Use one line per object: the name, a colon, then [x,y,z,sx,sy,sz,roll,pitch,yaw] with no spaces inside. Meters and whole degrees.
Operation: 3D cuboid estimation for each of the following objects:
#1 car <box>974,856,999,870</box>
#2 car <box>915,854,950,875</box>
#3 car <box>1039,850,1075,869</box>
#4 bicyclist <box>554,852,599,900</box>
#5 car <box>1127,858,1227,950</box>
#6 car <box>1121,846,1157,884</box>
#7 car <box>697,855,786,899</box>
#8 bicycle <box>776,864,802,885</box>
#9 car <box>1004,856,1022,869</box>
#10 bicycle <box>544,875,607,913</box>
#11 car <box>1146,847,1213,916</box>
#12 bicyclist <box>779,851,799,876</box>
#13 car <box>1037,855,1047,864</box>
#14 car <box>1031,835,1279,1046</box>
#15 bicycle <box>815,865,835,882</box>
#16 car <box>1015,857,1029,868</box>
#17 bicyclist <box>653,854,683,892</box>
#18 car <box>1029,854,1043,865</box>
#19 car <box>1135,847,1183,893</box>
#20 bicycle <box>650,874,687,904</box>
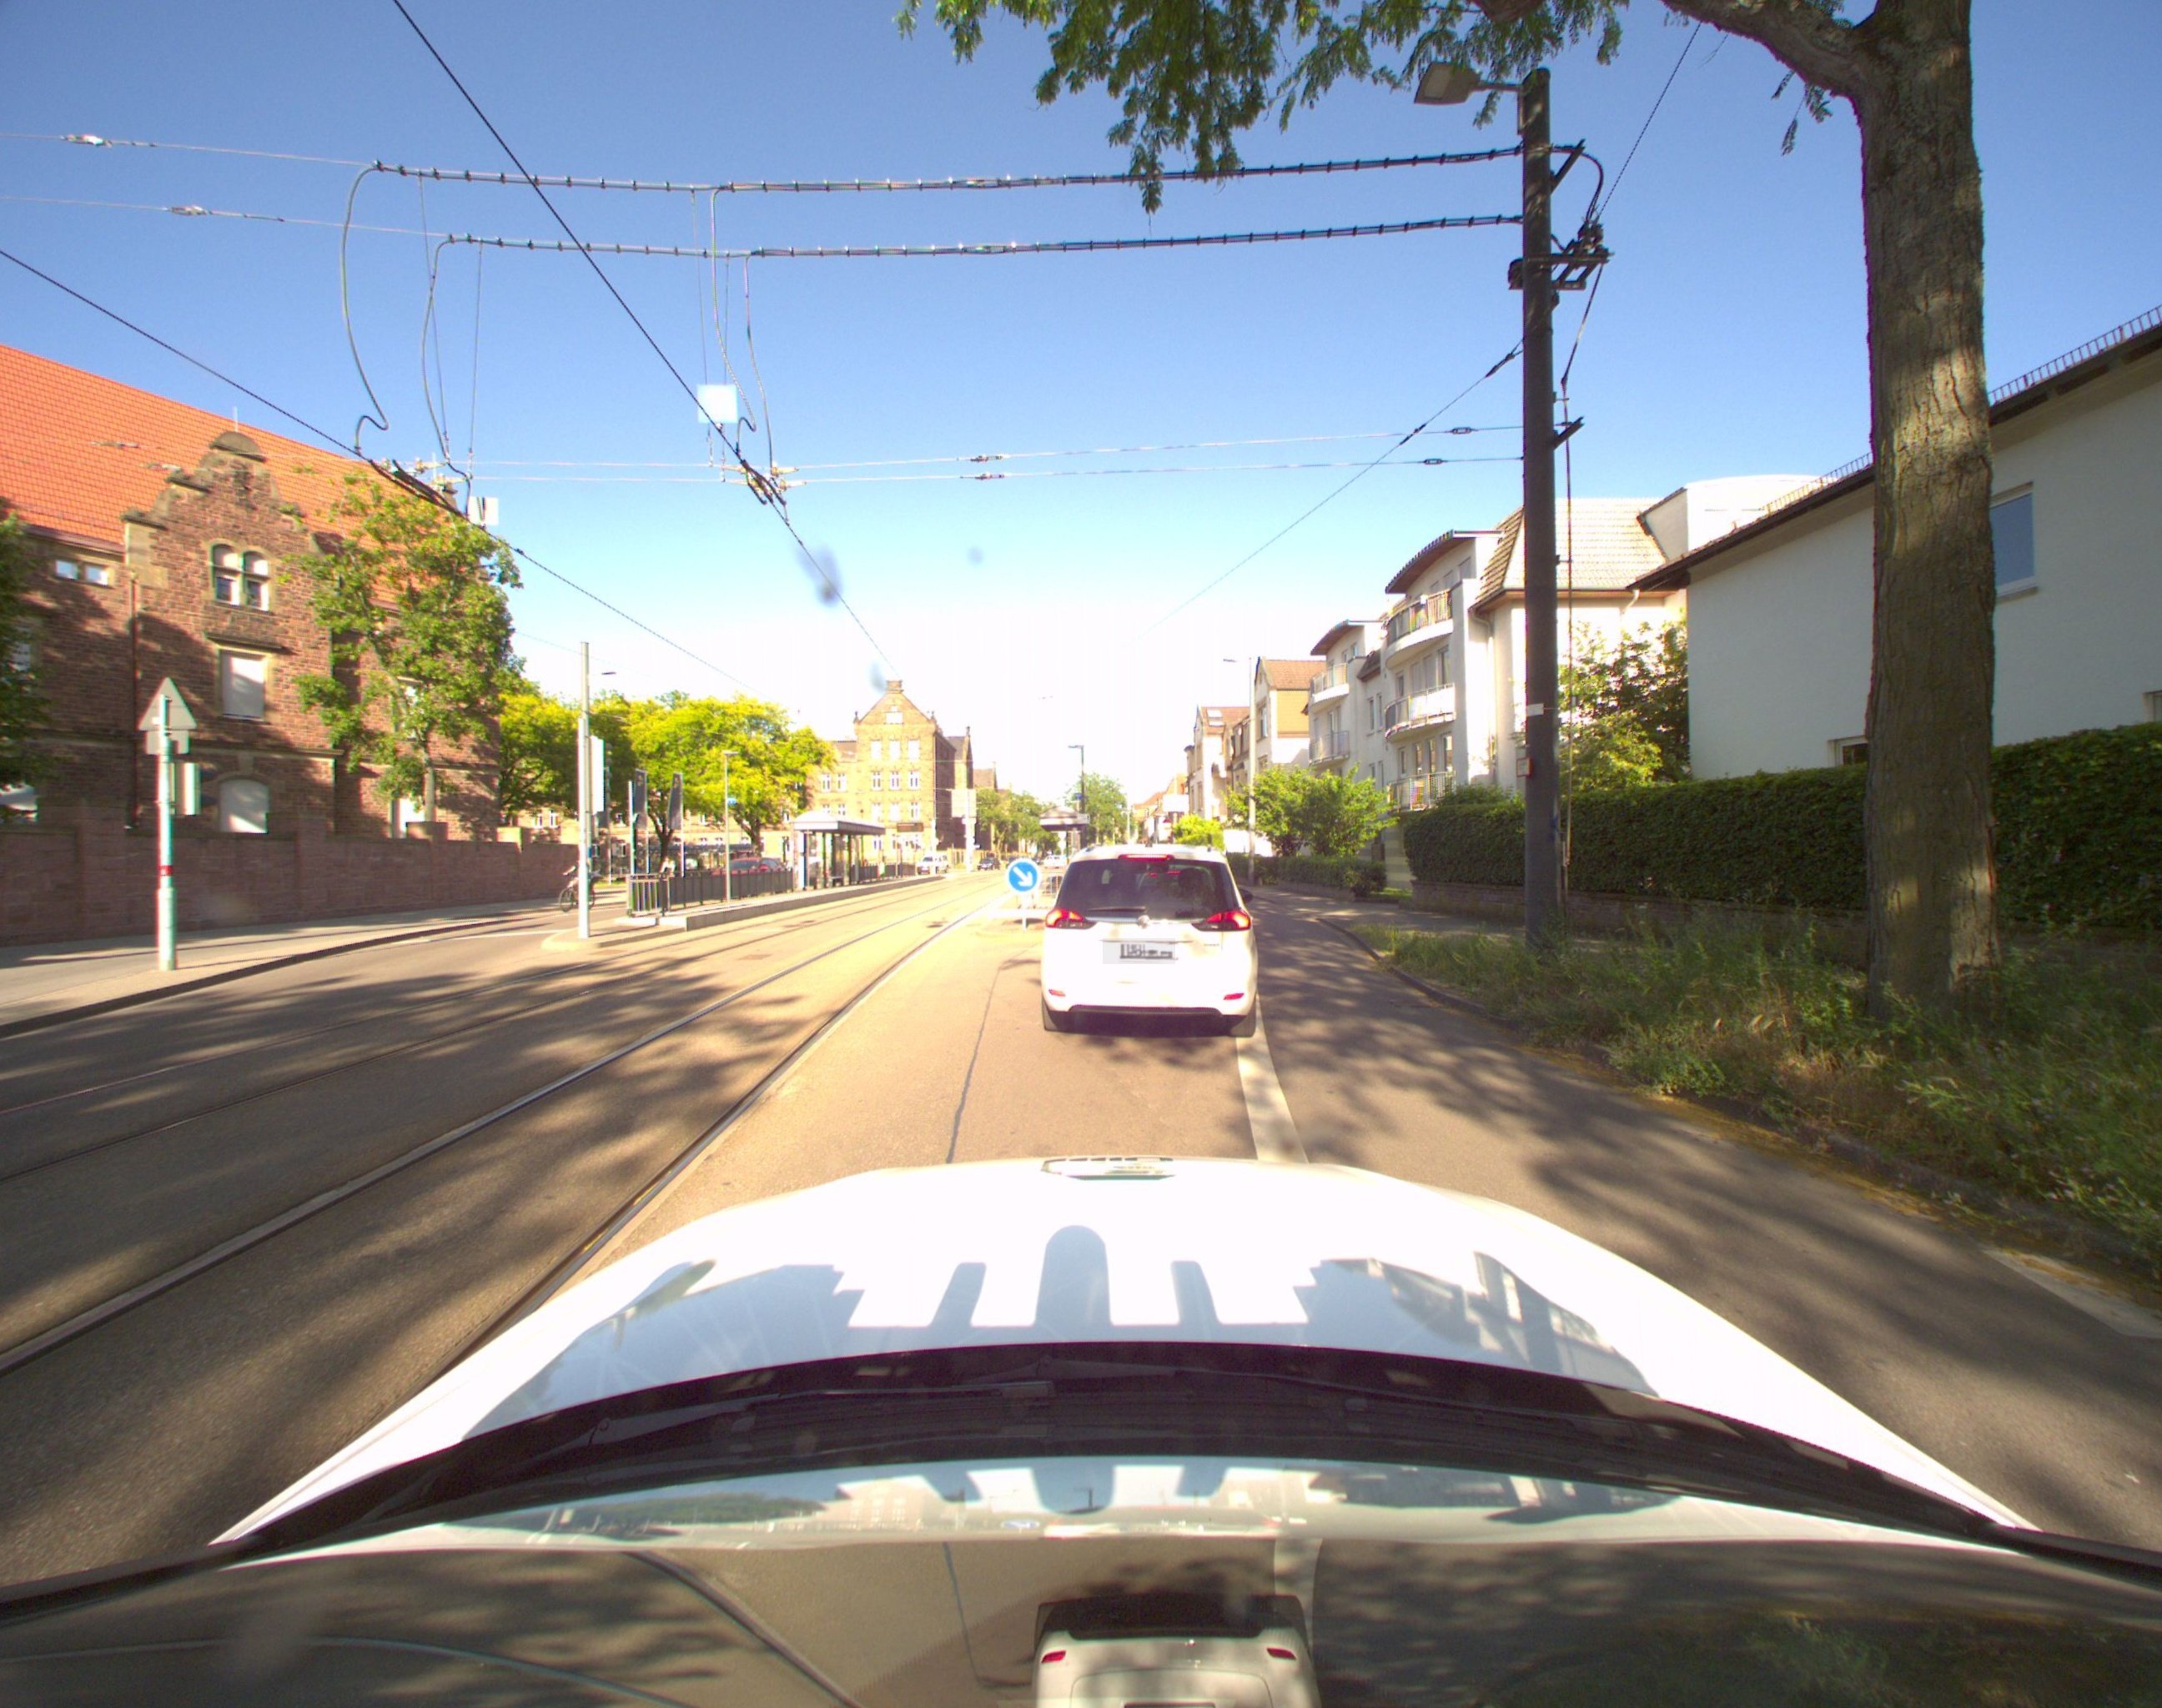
car: [-10.384,0.968,89.737,1.789,1.382,4.502,-1,0,5]
car: [-13.209,0.924,72.735,1.816,1.788,4.265,-1,0,8]
car: [-2.660,0.579,90.592,2.010,2.013,3.954,-1,0,-38]
bicyclist: [-15.985,0.687,25.827,0.650,1.459,1.152,-1,0,0]
car: [1.772,0.803,14.856,1.560,1.401,3.792,1,0,7]
car: [2.824,0.501,40.028,1.590,1.634,3.904,1,2,2]
car: [-13.467,0.865,32.586,1.813,1.607,4.356,-1,0,-2]
bicycle: [-17.225,1.209,48.080,0.812,1.198,1.953,0,0,2]
car: [-8.706,1.058,104.158,1.820,1.617,4.329,-1,-1,2]
bicycle: [-15.976,1.248,25.815,0.682,1.089,2.064,-1,0,1]
car: [2.560,0.644,21.094,1.560,1.614,3.792,1,0,7]
bicyclist: [-17.226,0.569,48.081,0.753,1.471,1.191,0,-1,2]
car: [-7.311,0.976,154.084,1.656,1.651,4.000,-1,0,0]
car: [0.624,0.673,8.187,1.871,1.585,4.001,0,-1,2]
bicycle: [-17.041,1.263,54.282,0.667,1.072,2.014,0,0,0]
car: [-8.311,1.195,115.616,1.822,1.446,4.323,-1,-1,-2]
bicyclist: [-16.124,0.742,31.844,0.652,1.459,1.149,-1,0,-6]
car: [-7.857,0.951,143.382,1.985,2.013,4.003,-1,0,3]
car: [2.991,0.577,31.658,1.590,1.635,3.903,1,0,2]
bicycle: [-16.119,1.376,31.873,0.684,1.089,1.850,-3,-4,-6]
